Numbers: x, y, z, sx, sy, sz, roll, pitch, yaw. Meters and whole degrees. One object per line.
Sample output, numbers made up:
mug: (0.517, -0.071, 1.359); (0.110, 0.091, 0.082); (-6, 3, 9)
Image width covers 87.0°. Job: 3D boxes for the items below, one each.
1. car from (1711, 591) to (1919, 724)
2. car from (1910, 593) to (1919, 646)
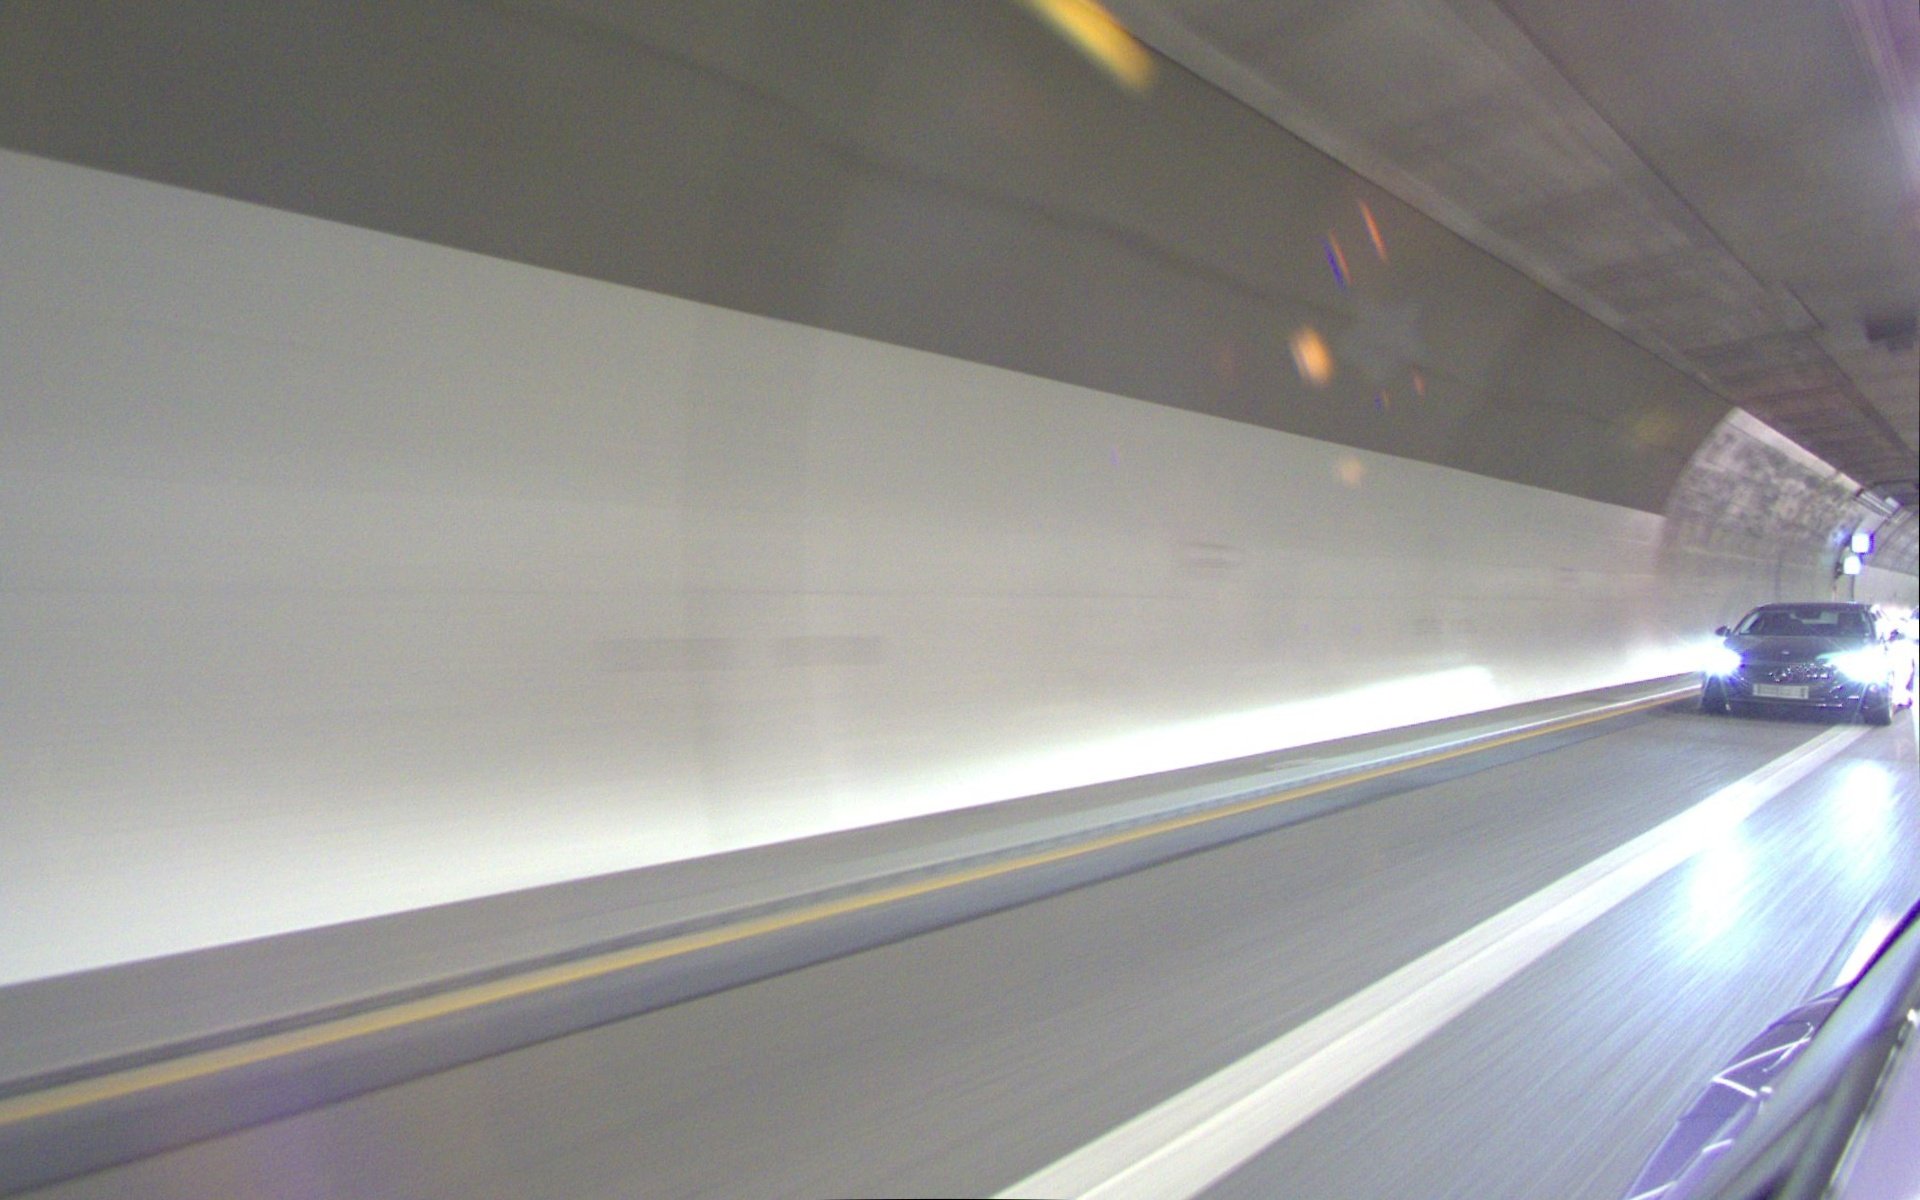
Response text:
car: (11.799, 0.651, 13.743); (4.445, 1.496, 1.823); (0, 1, -43)
car: (30.556, 0.565, 30.889); (4.663, 1.559, 1.996); (-1, 1, -43)
